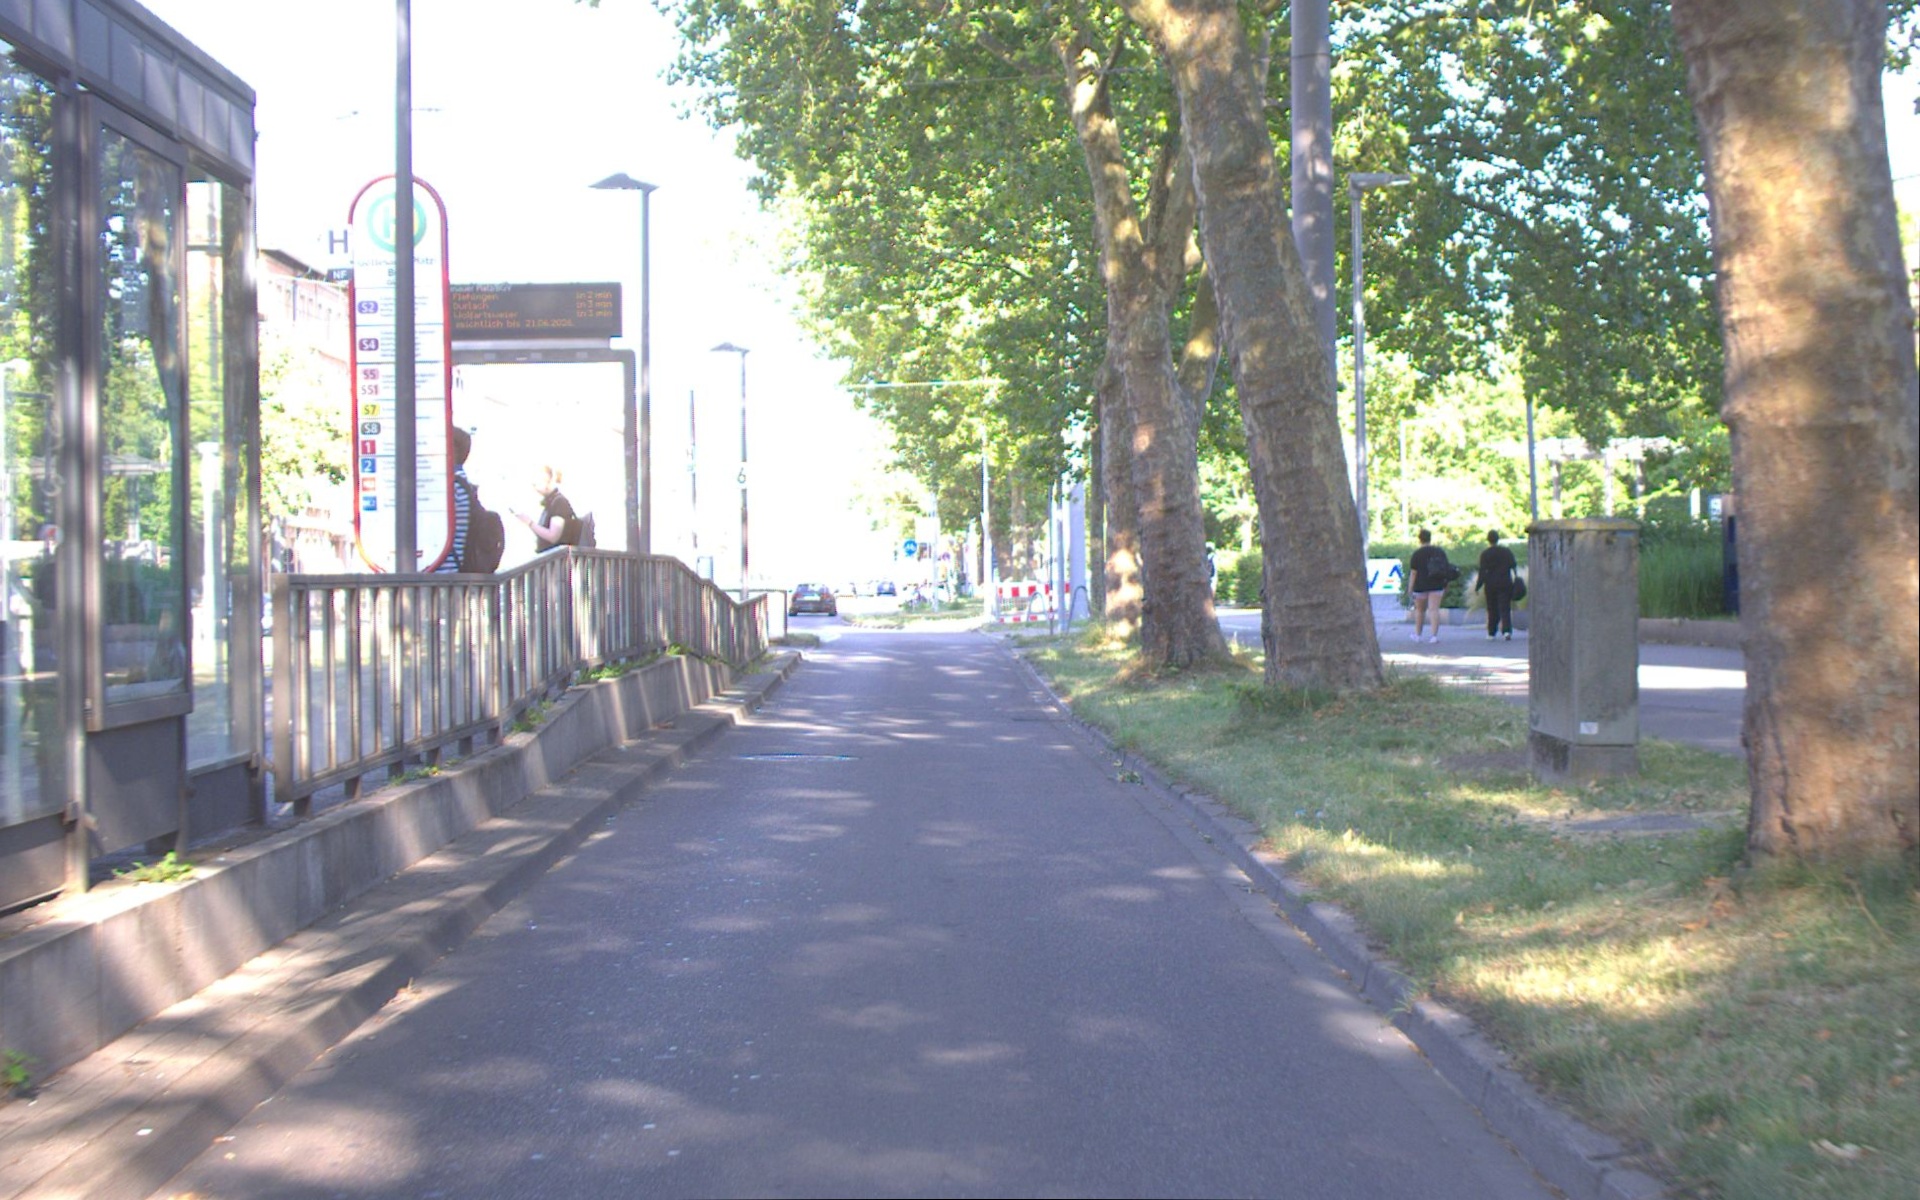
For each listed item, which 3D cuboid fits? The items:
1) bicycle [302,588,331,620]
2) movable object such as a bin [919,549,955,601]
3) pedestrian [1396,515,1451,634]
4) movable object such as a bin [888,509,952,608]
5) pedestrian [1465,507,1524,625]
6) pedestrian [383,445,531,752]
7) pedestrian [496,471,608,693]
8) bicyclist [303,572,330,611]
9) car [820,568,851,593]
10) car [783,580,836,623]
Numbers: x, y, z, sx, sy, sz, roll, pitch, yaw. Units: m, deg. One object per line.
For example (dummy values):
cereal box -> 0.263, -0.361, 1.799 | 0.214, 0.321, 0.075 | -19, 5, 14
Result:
bicycle -> -24.402, 0.150, 130.336 | 0.774, 1.189, 1.755 | 1, 0, -1
movable object such as a bin -> -1.414, -1.503, 208.952 | 1.968, 3.003, 4.797 | -4, 0, -1
pedestrian -> 6.588, -0.358, 48.886 | 0.627, 1.651, 0.740 | -2, 0, -1
movable object such as a bin -> -2.233, -2.222, 186.775 | 3.087, 5.071, 8.892 | -3, 0, -1
pedestrian -> 7.599, -0.482, 48.879 | 0.650, 1.651, 0.783 | -2, 0, -1
pedestrian -> -2.831, -0.009, 19.416 | 0.679, 1.684, 0.894 | 1, 0, 0
pedestrian -> -3.165, -0.138, 26.711 | 0.757, 1.684, 0.678 | 1, 0, 0
bicyclist -> -24.386, -0.324, 130.284 | 0.774, 1.476, 1.134 | 1, 0, -1
car -> -9.476, -1.508, 261.751 | 1.993, 1.853, 4.001 | 1, 0, -7
car -> -6.078, 0.069, 139.395 | 1.993, 1.678, 4.000 | 1, 0, -1
